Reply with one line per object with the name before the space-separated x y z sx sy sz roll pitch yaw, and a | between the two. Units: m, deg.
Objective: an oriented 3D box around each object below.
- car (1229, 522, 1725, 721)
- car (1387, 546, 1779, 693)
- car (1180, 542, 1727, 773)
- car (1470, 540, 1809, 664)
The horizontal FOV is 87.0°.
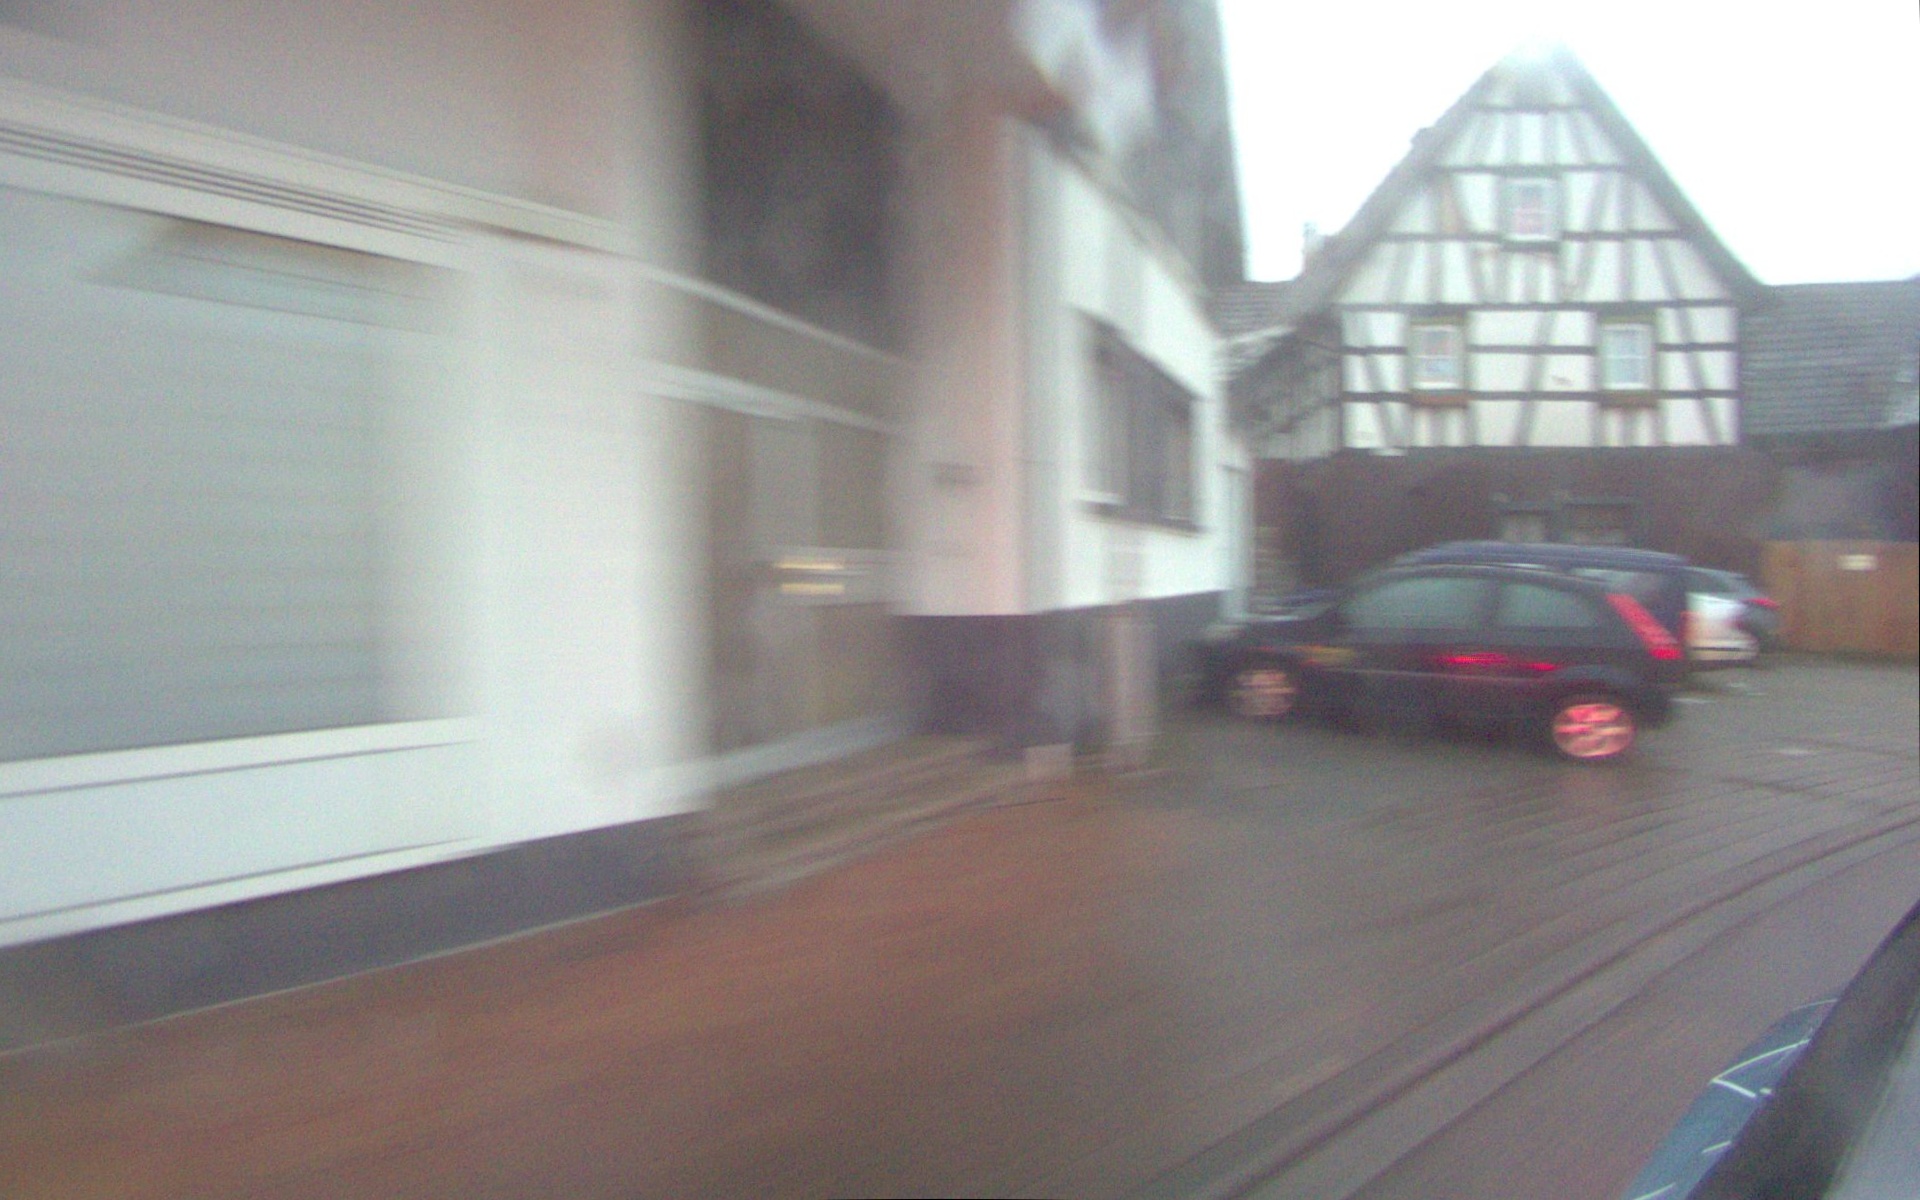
car | 5.416 0.082 11.202 4.429 1.680 1.842 5 5 24
car | 7.780 0.136 13.138 3.998 1.437 1.801 5 5 25
car | 4.112 0.321 8.978 3.855 1.467 1.873 5 5 25
car | 10.240 -0.049 15.619 3.933 1.533 1.589 4 5 19
